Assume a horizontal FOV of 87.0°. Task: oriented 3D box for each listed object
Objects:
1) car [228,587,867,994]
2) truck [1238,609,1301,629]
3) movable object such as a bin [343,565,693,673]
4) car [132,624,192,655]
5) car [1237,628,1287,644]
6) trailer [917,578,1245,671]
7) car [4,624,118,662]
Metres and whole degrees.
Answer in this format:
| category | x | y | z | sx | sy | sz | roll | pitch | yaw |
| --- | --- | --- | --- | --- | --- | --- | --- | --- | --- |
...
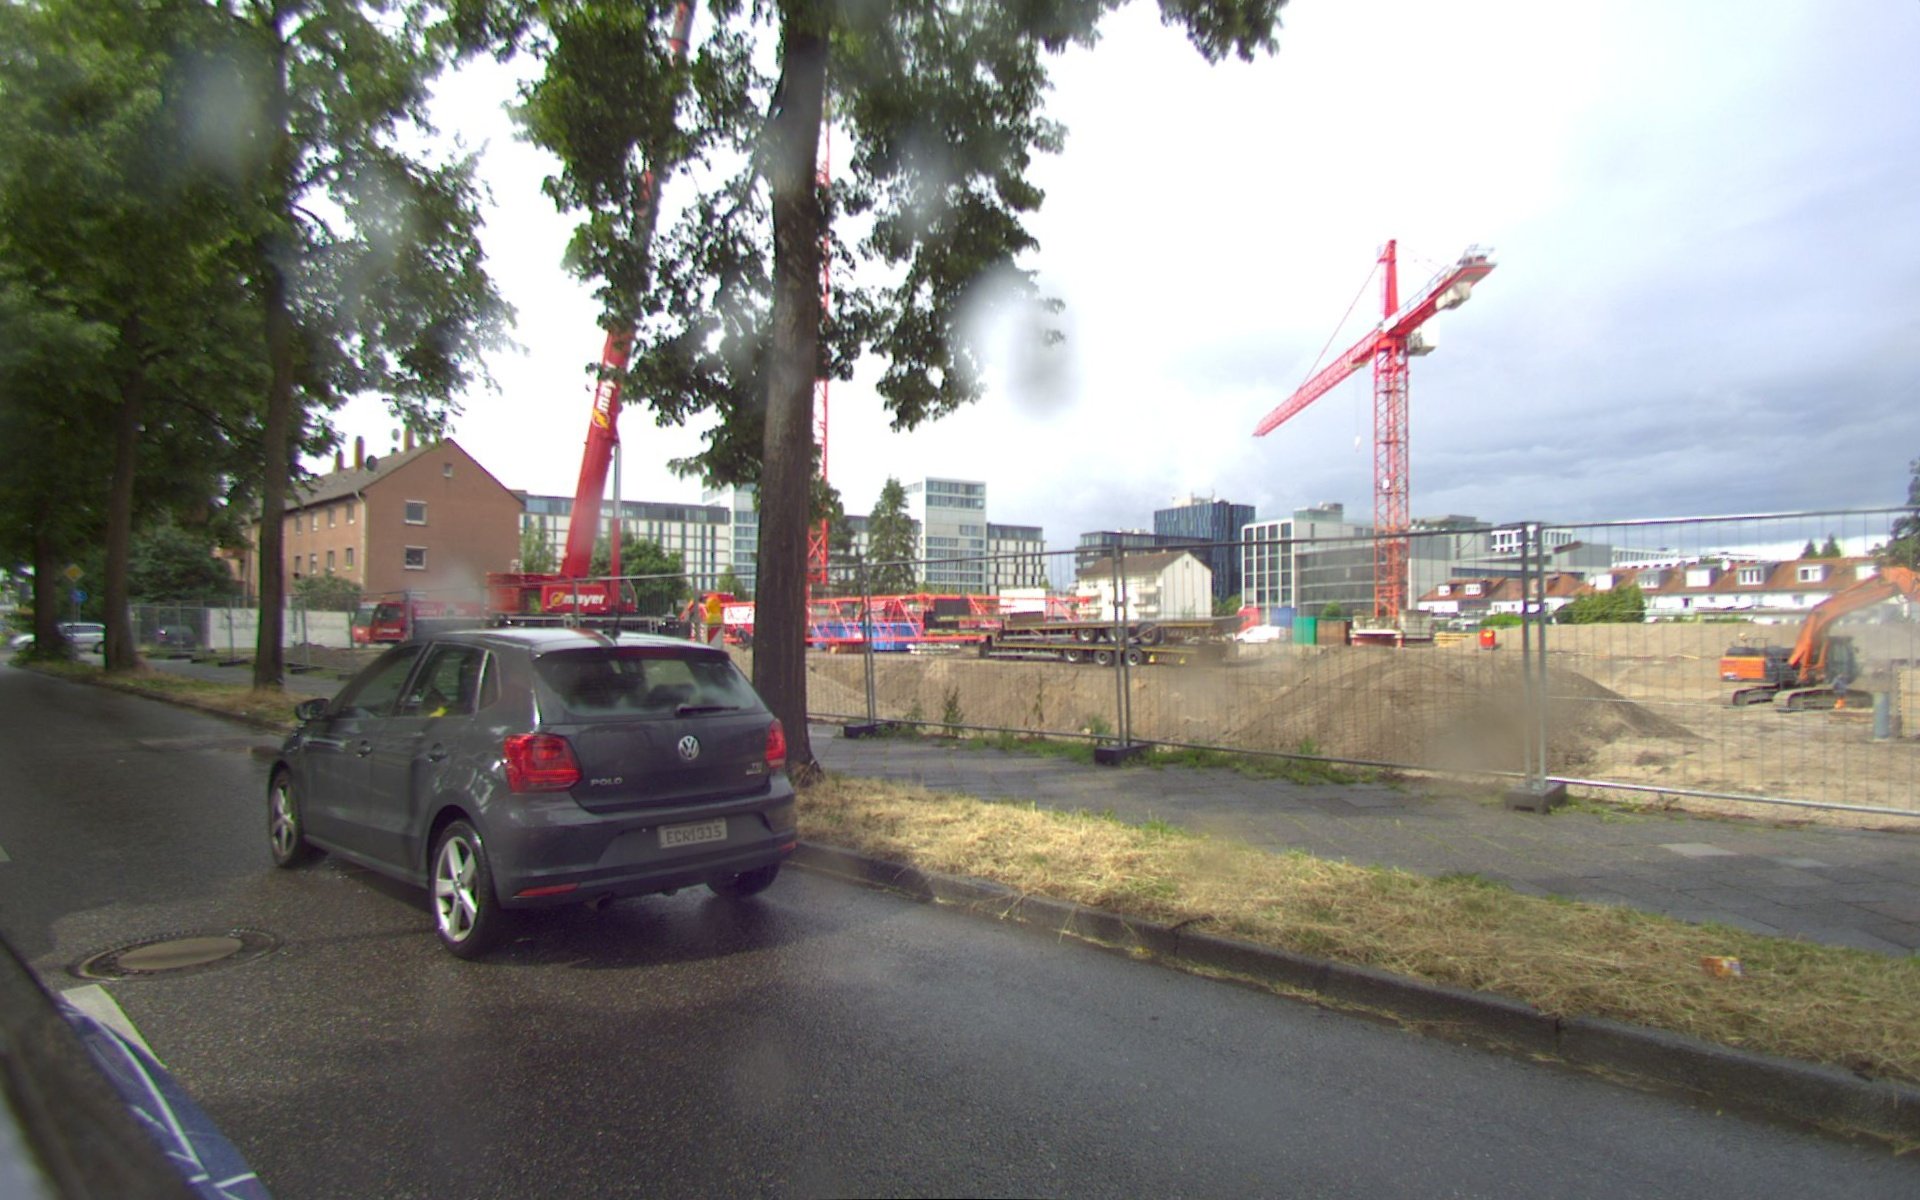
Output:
| category | x | y | z | sx | sy | sz | roll | pitch | yaw |
| --- | --- | --- | --- | --- | --- | --- | --- | --- | --- |
| car | -2.589 | 0.775 | 5.887 | 3.980 | 1.552 | 1.794 | 0 | -4 | 41 |
| truck | 32.970 | 2.001 | 107.920 | 6.292 | 2.095 | 1.884 | -1 | 0 | 25 |
| movable object such as a bin | -20.870 | 0.754 | 49.604 | 3.102 | 4.592 | 15.727 | -1 | 0 | 44 |
| car | -42.274 | 2.054 | 53.571 | 3.996 | 1.541 | 1.672 | 0 | 0 | 39 |
| car | 30.665 | 3.647 | 102.956 | 4.582 | 1.529 | 1.797 | 0 | 0 | 44 |
| trailer | 4.441 | 0.919 | 42.043 | 14.302 | 3.257 | 2.930 | -1 | 2 | 41 |
| car | -41.789 | 1.950 | 47.072 | 1.698 | 1.564 | 3.818 | -1 | 0 | 42 |
